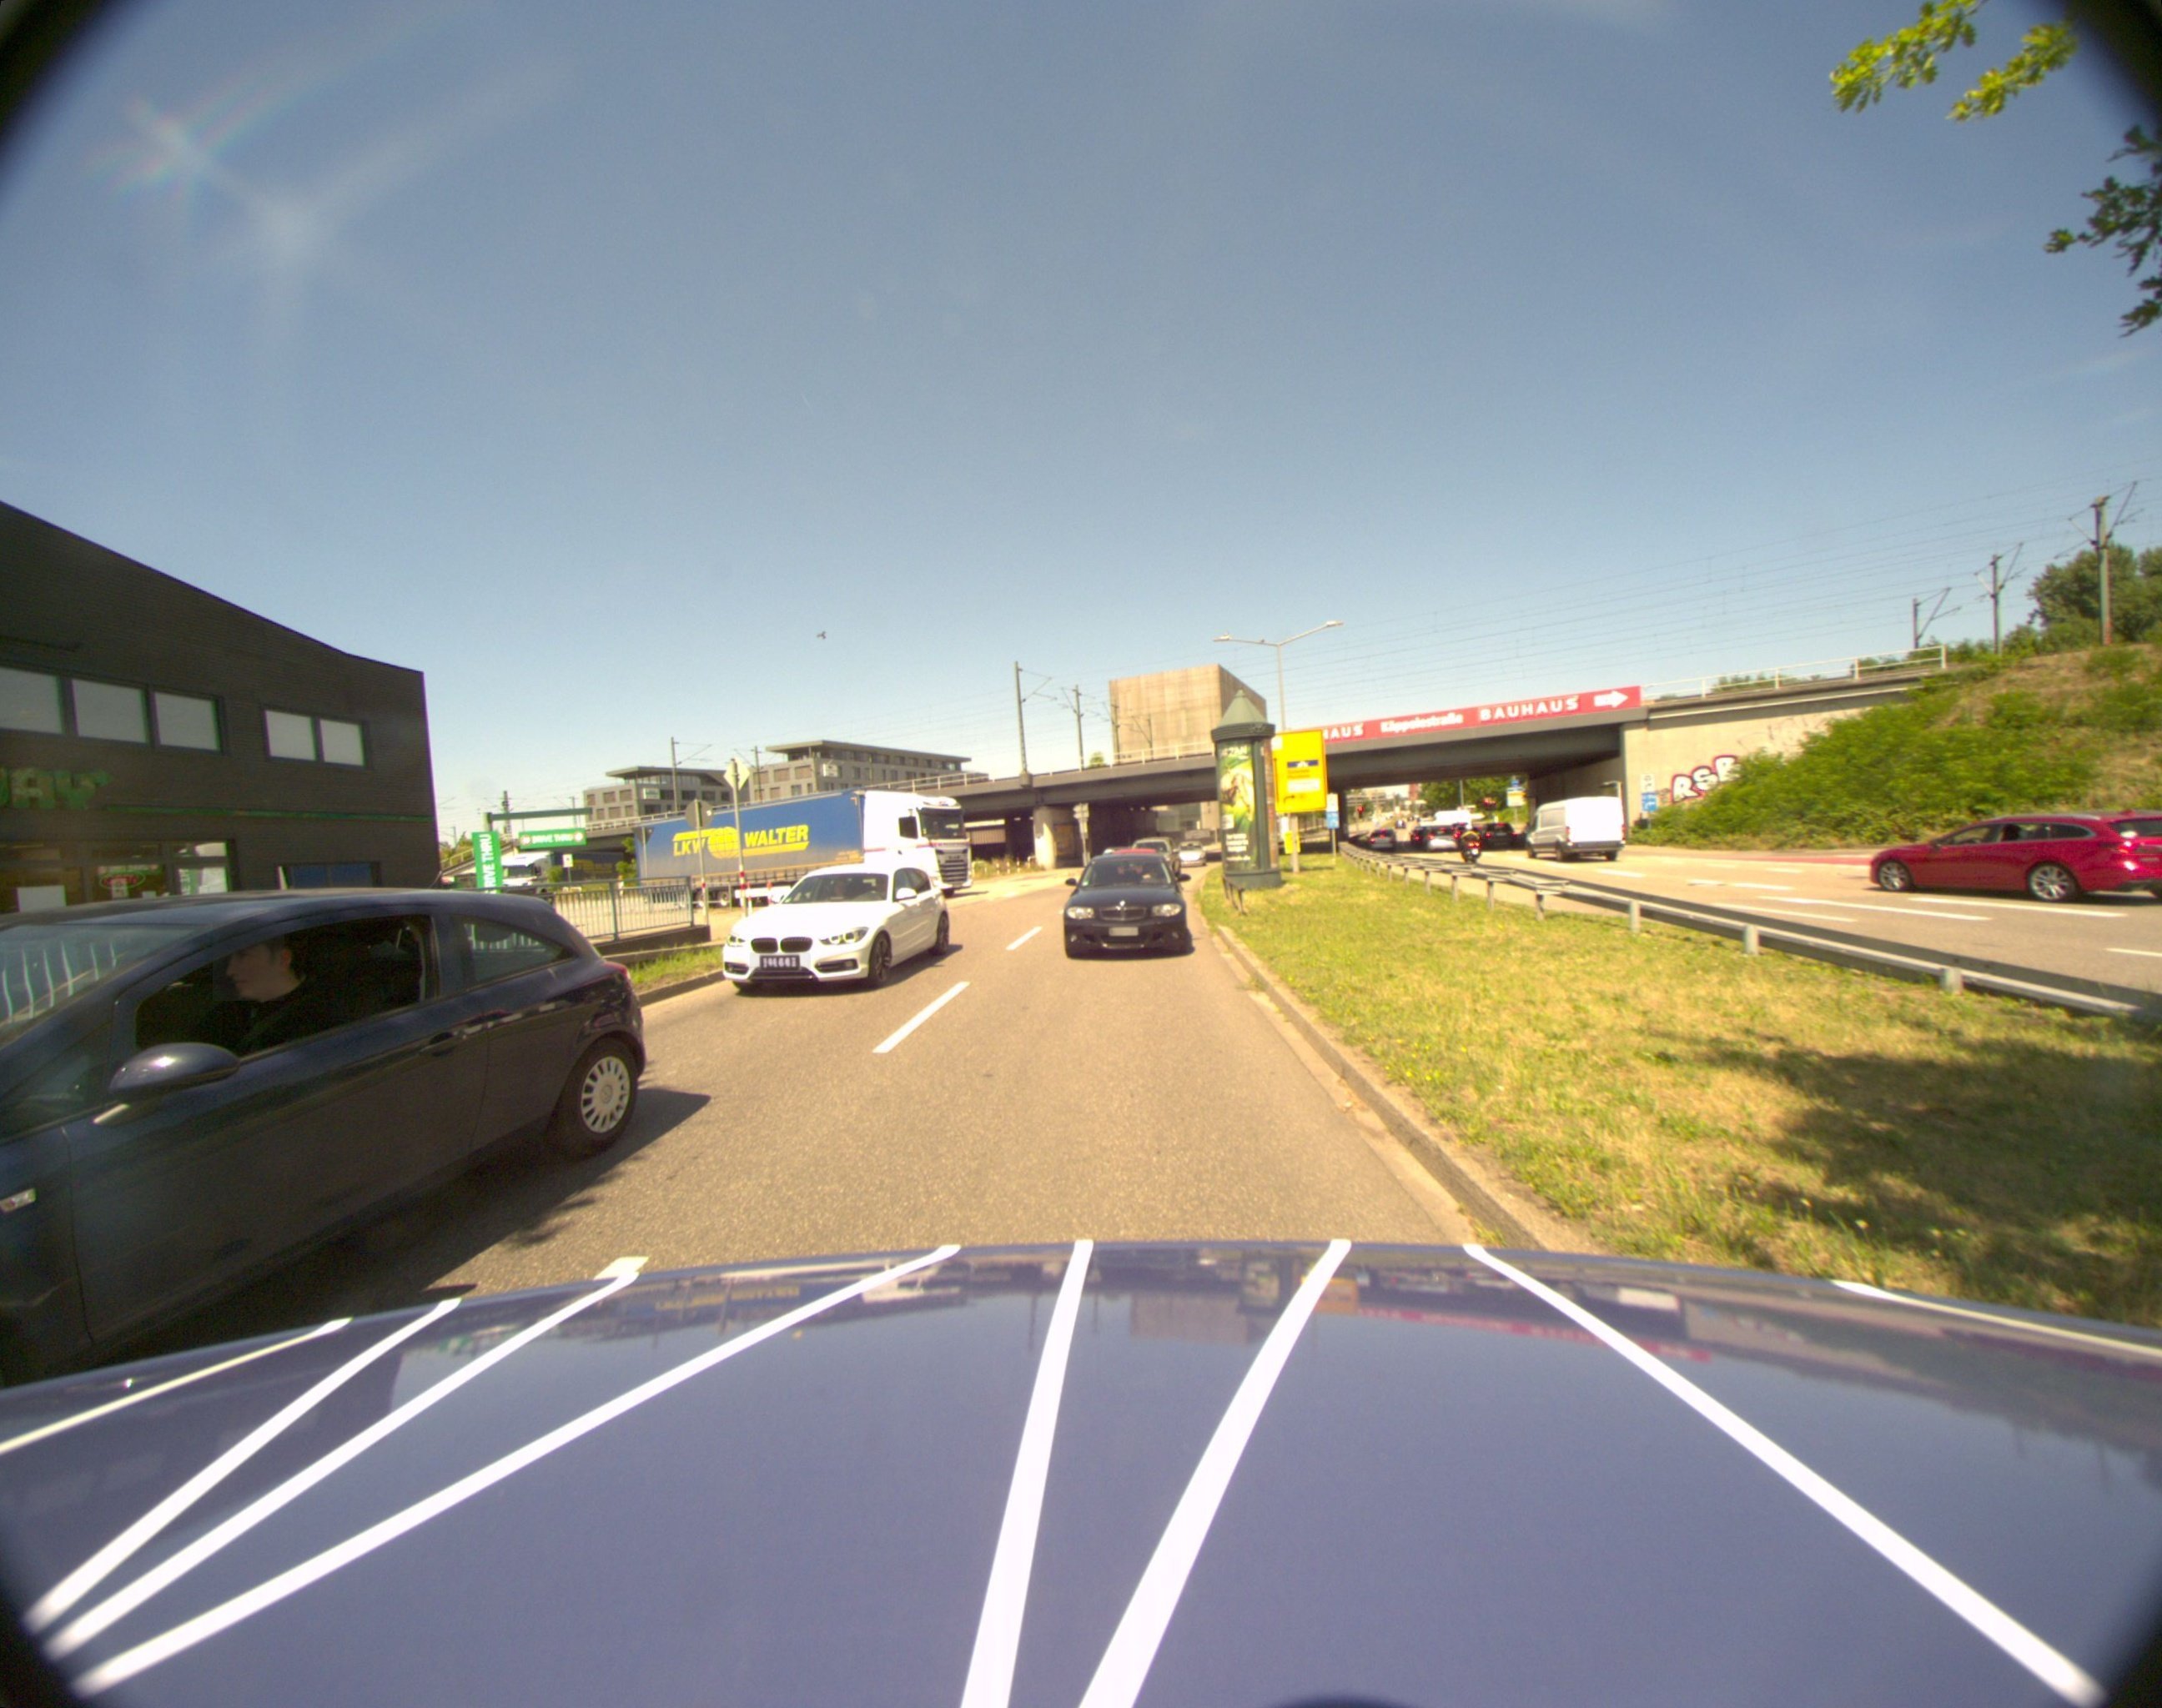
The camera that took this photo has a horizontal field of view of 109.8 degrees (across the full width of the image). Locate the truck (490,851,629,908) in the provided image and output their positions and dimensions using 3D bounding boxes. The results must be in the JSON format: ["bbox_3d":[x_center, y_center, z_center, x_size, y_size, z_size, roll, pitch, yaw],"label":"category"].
[{"bbox_3d":[-45.384,1.936,67.314,2.753,4.080,17.424,-3,1,-9],"label":"truck"}]

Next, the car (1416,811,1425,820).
[{"bbox_3d":[75.144,-8.513,168.206,1.836,2.002,4.005,-2,1,23],"label":"car"}]

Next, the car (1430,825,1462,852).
[{"bbox_3d":[22.184,-0.950,46.139,1.635,1.558,4.079,-1,1,27],"label":"car"}]

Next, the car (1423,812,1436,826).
[{"bbox_3d":[53.477,-5.363,116.528,1.704,2.002,4.005,-2,2,24],"label":"car"}]

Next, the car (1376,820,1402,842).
[{"bbox_3d":[28.211,-2.091,69.552,1.904,1.849,4.005,-2,2,25],"label":"car"}]

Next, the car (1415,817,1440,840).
[{"bbox_3d":[30.884,-2.282,67.748,1.904,1.849,4.005,-2,2,25],"label":"car"}]

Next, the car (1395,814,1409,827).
[{"bbox_3d":[52.535,-5.481,124.485,1.995,2.002,4.005,-2,2,24],"label":"car"}]

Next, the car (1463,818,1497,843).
[{"bbox_3d":[28.676,-1.695,54.705,1.774,1.658,4.020,-4,0,23],"label":"car"}]

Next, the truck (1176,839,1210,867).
[{"bbox_3d":[6.833,-0.104,46.077,1.729,1.493,4.002,-3,1,12],"label":"truck"}]

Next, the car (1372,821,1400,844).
[{"bbox_3d":[26.101,-1.883,64.991,1.904,1.849,4.005,-2,2,25],"label":"car"}]

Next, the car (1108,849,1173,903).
[{"bbox_3d":[1.667,0.570,22.408,1.646,1.391,4.052,-1,1,1],"label":"car"}]

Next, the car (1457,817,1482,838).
[{"bbox_3d":[30.778,-2.123,60.169,1.571,1.494,3.412,-2,2,29],"label":"car"}]

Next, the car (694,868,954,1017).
[{"bbox_3d":[-3.079,0.985,10.101,1.762,1.435,4.053,-1,1,5],"label":"car"}]

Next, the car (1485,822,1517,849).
[{"bbox_3d":[26.111,-1.156,47.319,1.516,1.533,3.685,-2,2,26],"label":"car"}]

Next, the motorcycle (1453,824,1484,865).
[{"bbox_3d":[16.626,-0.420,32.687,0.598,1.669,2.427,-3,1,14],"label":"motorcycle"}]

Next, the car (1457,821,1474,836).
[{"bbox_3d":[33.563,-2.236,66.342,1.183,1.241,2.696,-2,2,29],"label":"car"}]

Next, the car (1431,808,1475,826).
[{"bbox_3d":[51.044,-5.024,104.381,2.000,2.091,6.376,-3,1,-10],"label":"car"}]

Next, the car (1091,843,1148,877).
[{"bbox_3d":[1.979,0.273,37.789,1.714,1.434,4.004,-2,1,19],"label":"car"}]

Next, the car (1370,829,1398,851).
[{"bbox_3d":[20.651,-0.966,51.724,1.636,1.395,4.227,-1,1,23],"label":"car"}]

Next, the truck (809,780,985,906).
[{"bbox_3d":[-6.769,-0.337,27.896,5.748,4.078,2.580,-3,1,28],"label":"truck"}]

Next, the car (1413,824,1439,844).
[{"bbox_3d":[28.101,-1.632,61.870,1.616,1.468,3.438,-2,2,29],"label":"car"}]

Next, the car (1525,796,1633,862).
[{"bbox_3d":[20.840,-0.953,32.146,2.097,2.485,5.816,-2,0,16],"label":"car"}]

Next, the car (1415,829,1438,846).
[{"bbox_3d":[25.644,-1.234,56.397,1.268,1.178,2.782,-2,2,29],"label":"car"}]

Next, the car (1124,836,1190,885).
[{"bbox_3d":[3.008,0.209,29.495,1.843,1.686,3.703,-3,1,16],"label":"car"}]

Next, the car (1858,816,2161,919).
[{"bbox_3d":[16.597,0.125,13.255,1.834,1.429,4.527,-3,1,7],"label":"car"}]

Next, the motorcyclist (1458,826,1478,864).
[{"bbox_3d":[16.585,-0.386,32.546,0.588,1.617,0.563,-3,2,11],"label":"motorcyclist"}]

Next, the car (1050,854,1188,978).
[{"bbox_3d":[0.756,0.795,11.636,1.680,1.409,4.057,-3,1,8],"label":"car"}]

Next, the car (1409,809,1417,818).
[{"bbox_3d":[84.751,-10.331,193.988,1.836,2.002,4.005,-2,1,23],"label":"car"}]

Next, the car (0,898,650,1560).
[{"bbox_3d":[-3.440,1.025,2.472,1.650,1.436,3.891,-3,0,3],"label":"car"}]

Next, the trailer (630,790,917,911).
[{"bbox_3d":[-13.132,0.070,31.425,13.871,4.067,2.504,-3,1,28],"label":"trailer"}]
